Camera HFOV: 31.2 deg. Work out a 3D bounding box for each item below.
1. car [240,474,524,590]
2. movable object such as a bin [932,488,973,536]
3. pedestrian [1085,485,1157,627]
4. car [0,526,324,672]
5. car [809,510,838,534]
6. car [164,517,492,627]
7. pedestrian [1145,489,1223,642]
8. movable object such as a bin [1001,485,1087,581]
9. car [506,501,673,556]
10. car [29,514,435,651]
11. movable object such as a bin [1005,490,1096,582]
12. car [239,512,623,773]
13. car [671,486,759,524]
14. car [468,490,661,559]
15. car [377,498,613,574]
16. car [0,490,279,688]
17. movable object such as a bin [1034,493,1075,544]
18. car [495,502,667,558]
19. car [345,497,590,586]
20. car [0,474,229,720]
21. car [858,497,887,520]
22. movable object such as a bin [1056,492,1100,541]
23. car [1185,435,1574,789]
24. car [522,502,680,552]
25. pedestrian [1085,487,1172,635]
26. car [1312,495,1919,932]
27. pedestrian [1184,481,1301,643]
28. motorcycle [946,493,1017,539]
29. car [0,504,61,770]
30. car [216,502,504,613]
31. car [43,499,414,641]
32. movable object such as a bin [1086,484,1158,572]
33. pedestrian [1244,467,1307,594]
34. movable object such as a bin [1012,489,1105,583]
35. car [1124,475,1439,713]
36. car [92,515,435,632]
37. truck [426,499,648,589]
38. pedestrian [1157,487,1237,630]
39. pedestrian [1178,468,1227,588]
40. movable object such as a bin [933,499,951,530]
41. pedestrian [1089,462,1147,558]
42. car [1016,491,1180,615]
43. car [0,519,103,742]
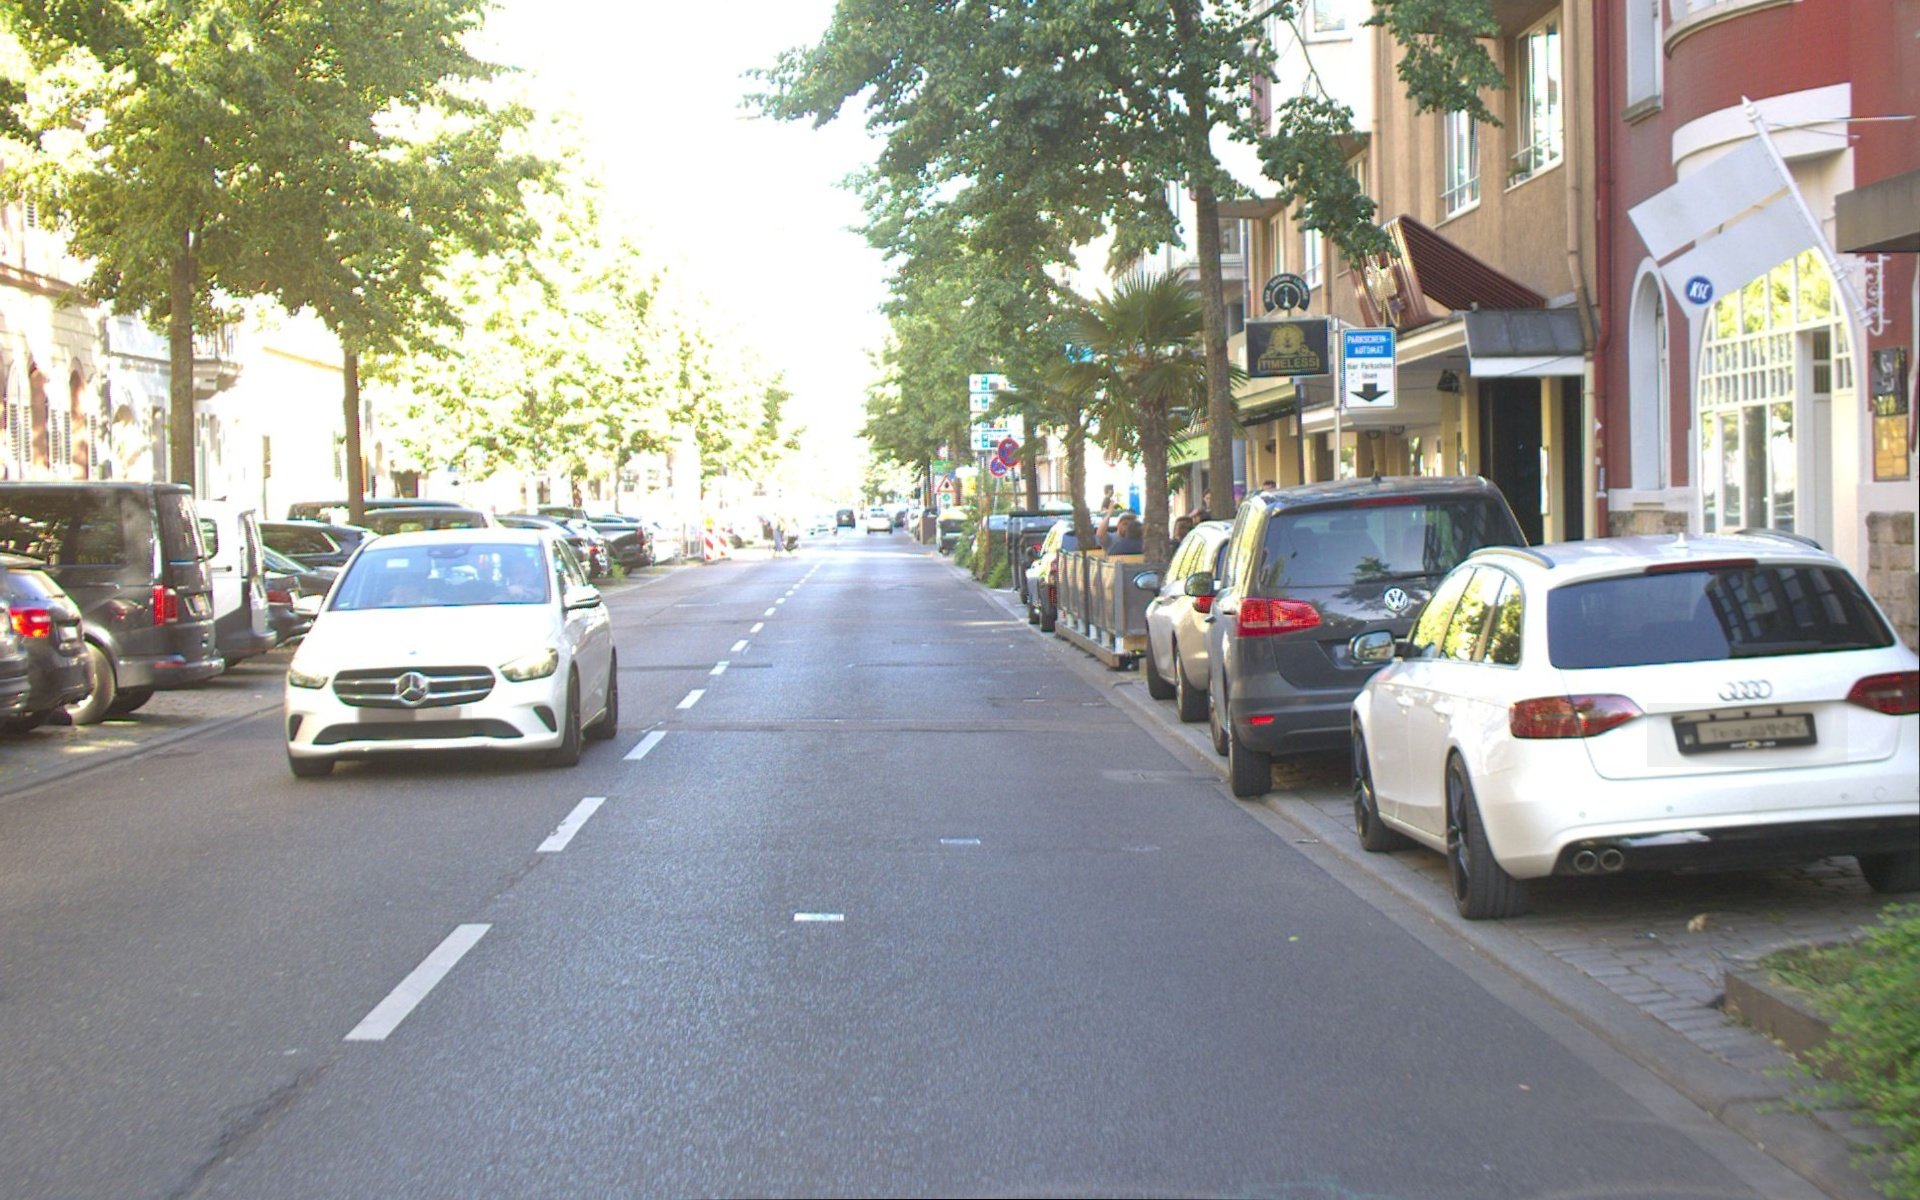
[{"bbox_3d":[-10.204,-1.220,60.922,4.680,1.943,1.917,-1,2,0],"label":"car"},{"bbox_3d":[-0.241,-2.959,115.659,1.143,1.556,1.459,-2,2,7],"label":"movable object such as a bin"},{"bbox_3d":[1.765,-0.493,37.868,0.650,1.531,0.980,-2,2,-3],"label":"pedestrian"},{"bbox_3d":[-9.030,-0.024,36.235,4.339,1.434,1.917,-1,2,-3],"label":"car"},{"bbox_3d":[-9.064,-5.165,228.210,1.802,1.430,4.410,-4,2,-2],"label":"car"},{"bbox_3d":[-9.388,-0.435,51.284,4.466,1.535,1.916,-1,2,2],"label":"car"},{"bbox_3d":[2.306,-0.363,35.463,0.692,1.531,0.776,-2,2,0],"label":"pedestrian"},{"bbox_3d":[1.398,-1.126,57.496,1.330,1.537,1.146,-2,2,-1],"label":"movable object such as a bin"},{"bbox_3d":[-10.603,-2.059,98.694,4.680,1.460,1.808,-1,2,-4],"label":"car"},{"bbox_3d":[-8.750,-0.229,41.587,4.466,1.535,1.917,-1,2,1],"label":"car"},{"bbox_3d":[1.477,-1.056,56.334,1.399,1.448,1.146,-2,2,-1],"label":"movable object such as a bin"},{"bbox_3d":[-3.418,0.204,23.013,1.910,1.539,4.354,-1,2,-1],"label":"car"},{"bbox_3d":[-11.830,-4.606,166.384,3.987,1.688,2.000,-2,2,3],"label":"car"},{"bbox_3d":[-10.105,-1.937,88.064,4.680,1.687,1.808,-1,2,0],"label":"car"},{"bbox_3d":[-9.761,-1.352,72.407,4.680,1.514,1.808,-1,2,0],"label":"car"},{"bbox_3d":[-8.860,-0.116,33.436,4.338,1.827,1.917,-1,2,-11],"label":"car"},{"bbox_3d":[3.107,-2.679,113.158,1.205,1.622,1.498,-2,2,-3],"label":"movable object such as a bin"},{"bbox_3d":[-10.561,-1.967,95.968,4.680,1.460,1.808,-1,2,-4],"label":"car"},{"bbox_3d":[-9.955,-1.201,69.686,4.680,1.706,1.808,-1,2,0],"label":"car"},{"bbox_3d":[-8.506,-0.025,28.151,4.573,1.920,1.930,-1,2,1],"label":"car"},{"bbox_3d":[-5.629,-5.888,220.789,1.792,1.406,4.001,-2,2,-2],"label":"car"},{"bbox_3d":[3.846,-2.720,111.802,1.270,1.525,1.177,-2,2,-3],"label":"movable object such as a bin"},{"bbox_3d":[2.403,-0.020,20.843,1.822,1.771,4.930,-4,2,2],"label":"car"},{"bbox_3d":[-10.824,-2.205,103.944,4.680,1.407,1.808,-1,2,-4],"label":"car"},{"bbox_3d":[1.796,-0.424,36.570,0.750,1.531,0.807,-2,2,13],"label":"pedestrian"},{"bbox_3d":[2.718,0.322,14.424,1.822,1.397,4.842,-4,2,-1],"label":"car"},{"bbox_3d":[2.757,-0.381,33.626,1.056,1.531,0.892,-2,2,3],"label":"pedestrian"},{"bbox_3d":[0.649,-2.570,105.343,1.977,1.325,0.912,-2,2,-13],"label":"motorcycle"},{"bbox_3d":[-8.468,0.255,23.155,4.339,1.727,1.917,-1,2,-3],"label":"car"},{"bbox_3d":[-10.063,-0.726,57.887,4.466,1.766,1.917,-1,2,0],"label":"car"},{"bbox_3d":[-9.321,-0.403,44.061,4.339,1.703,1.917,-1,2,-1],"label":"car"},{"bbox_3d":[2.704,-1.214,57.521,1.077,1.426,1.295,-2,2,-1],"label":"movable object such as a bin"},{"bbox_3d":[4.241,-0.934,46.228,0.502,1.690,0.630,-3,2,-38],"label":"pedestrian"},{"bbox_3d":[1.577,-1.032,55.157,1.399,1.448,1.146,-2,2,-1],"label":"movable object such as a bin"},{"bbox_3d":[2.433,-0.118,27.209,1.822,1.591,4.842,-4,2,-1],"label":"car"},{"bbox_3d":[-9.777,-0.393,48.514,4.466,1.535,1.917,-1,2,-2],"label":"car"},{"bbox_3d":[-10.136,-1.361,82.666,5.084,1.931,2.000,-2,2,-2],"label":"truck"},{"bbox_3d":[2.615,-0.464,37.857,0.712,1.531,0.769,-2,2,13],"label":"pedestrian"},{"bbox_3d":[3.490,-1.044,49.510,0.616,1.690,0.762,-2,2,2],"label":"pedestrian"},{"bbox_3d":[-0.709,-3.294,132.771,0.621,1.175,0.712,-2,2,-4],"label":"movable object such as a bin"},{"bbox_3d":[3.252,-1.856,70.764,0.926,1.929,0.760,-1,2,24],"label":"pedestrian"},{"bbox_3d":[1.814,-0.678,46.621,1.822,1.467,4.912,-4,2,-1],"label":"car"},{"bbox_3d":[-8.769,0.236,25.570,4.339,1.590,1.917,-1,2,-3],"label":"car"}]
